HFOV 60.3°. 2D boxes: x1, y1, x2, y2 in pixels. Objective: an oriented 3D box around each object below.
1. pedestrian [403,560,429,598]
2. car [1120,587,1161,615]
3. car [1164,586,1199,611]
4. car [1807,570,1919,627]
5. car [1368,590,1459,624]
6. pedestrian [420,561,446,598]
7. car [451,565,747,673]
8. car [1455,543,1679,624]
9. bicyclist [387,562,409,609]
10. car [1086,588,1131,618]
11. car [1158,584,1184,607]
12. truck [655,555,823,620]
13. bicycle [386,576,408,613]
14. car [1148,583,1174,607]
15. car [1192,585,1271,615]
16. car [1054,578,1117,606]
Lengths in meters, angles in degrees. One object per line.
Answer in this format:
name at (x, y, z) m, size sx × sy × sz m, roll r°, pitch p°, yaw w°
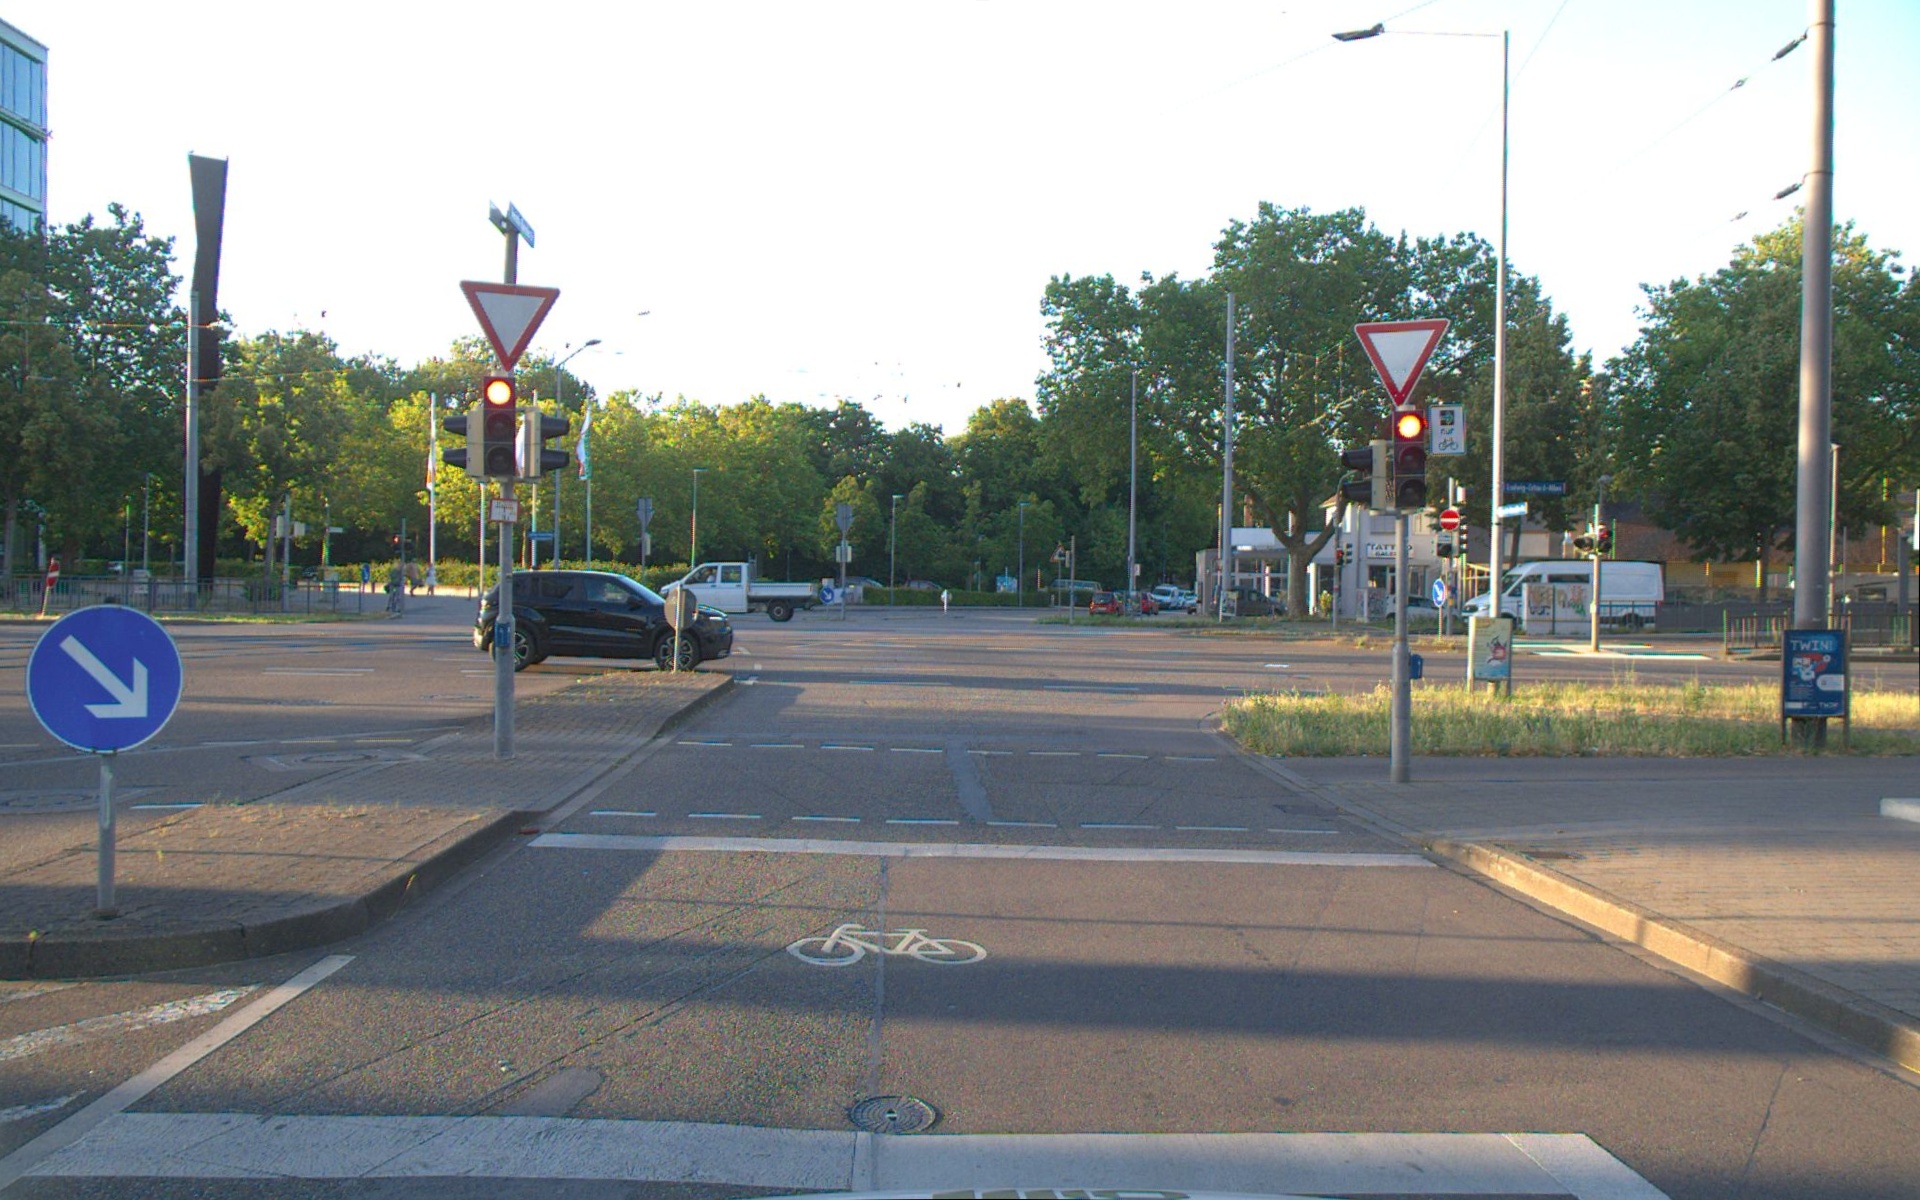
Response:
pedestrian at (-26.036, -1.014, 79.136) m, size 0.844 × 1.774 × 0.828 m, roll 1°, pitch 0°, yaw 32°
car at (11.319, 0.086, 103.537) m, size 1.951 × 1.691 × 4.003 m, roll 0°, pitch -1°, yaw 14°
car at (15.555, -0.073, 115.829) m, size 1.951 × 1.691 × 4.003 m, roll 0°, pitch -1°, yaw 14°
car at (43.638, -0.085, 78.693) m, size 5.476 × 2.596 × 2.231 m, roll 1°, pitch 0°, yaw 7°
car at (19.897, 0.317, 72.644) m, size 3.659 × 1.465 × 1.665 m, roll 1°, pitch -1°, yaw 9°
pedestrian at (-25.455, -0.985, 79.916) m, size 0.846 × 1.774 × 0.826 m, roll 1°, pitch 0°, yaw 38°
car at (-5.636, 0.281, 26.318) m, size 4.347 × 1.601 × 1.998 m, roll 1°, pitch 0°, yaw -5°
car at (20.969, -0.544, 57.389) m, size 6.777 × 2.682 × 2.811 m, roll 1°, pitch -1°, yaw -1°
bicyclist at (-21.348, -0.551, 62.827) m, size 0.740 × 1.739 × 0.914 m, roll 1°, pitch 0°, yaw -23°
car at (8.622, 0.213, 95.807) m, size 1.951 × 1.691 × 4.003 m, roll 0°, pitch -1°, yaw 14°
car at (17.407, -0.363, 136.347) m, size 1.823 × 1.825 × 4.003 m, roll 0°, pitch -1°, yaw 12°
truck at (-7.528, -0.435, 56.673) m, size 5.443 × 2.090 × 2.068 m, roll 1°, pitch 0°, yaw 0°
bicycle at (-21.501, -0.208, 63.158) m, size 0.719 × 1.364 × 2.674 m, roll 1°, pitch 1°, yaw -20°
car at (15.998, -0.373, 131.432) m, size 1.823 × 1.825 × 4.003 m, roll 1°, pitch -1°, yaw 10°
car at (14.654, 0.017, 89.383) m, size 4.129 × 1.579 × 2.001 m, roll 1°, pitch -1°, yaw 7°
car at (9.508, -0.599, 126.021) m, size 4.675 × 2.041 × 2.000 m, roll 1°, pitch -1°, yaw 1°
